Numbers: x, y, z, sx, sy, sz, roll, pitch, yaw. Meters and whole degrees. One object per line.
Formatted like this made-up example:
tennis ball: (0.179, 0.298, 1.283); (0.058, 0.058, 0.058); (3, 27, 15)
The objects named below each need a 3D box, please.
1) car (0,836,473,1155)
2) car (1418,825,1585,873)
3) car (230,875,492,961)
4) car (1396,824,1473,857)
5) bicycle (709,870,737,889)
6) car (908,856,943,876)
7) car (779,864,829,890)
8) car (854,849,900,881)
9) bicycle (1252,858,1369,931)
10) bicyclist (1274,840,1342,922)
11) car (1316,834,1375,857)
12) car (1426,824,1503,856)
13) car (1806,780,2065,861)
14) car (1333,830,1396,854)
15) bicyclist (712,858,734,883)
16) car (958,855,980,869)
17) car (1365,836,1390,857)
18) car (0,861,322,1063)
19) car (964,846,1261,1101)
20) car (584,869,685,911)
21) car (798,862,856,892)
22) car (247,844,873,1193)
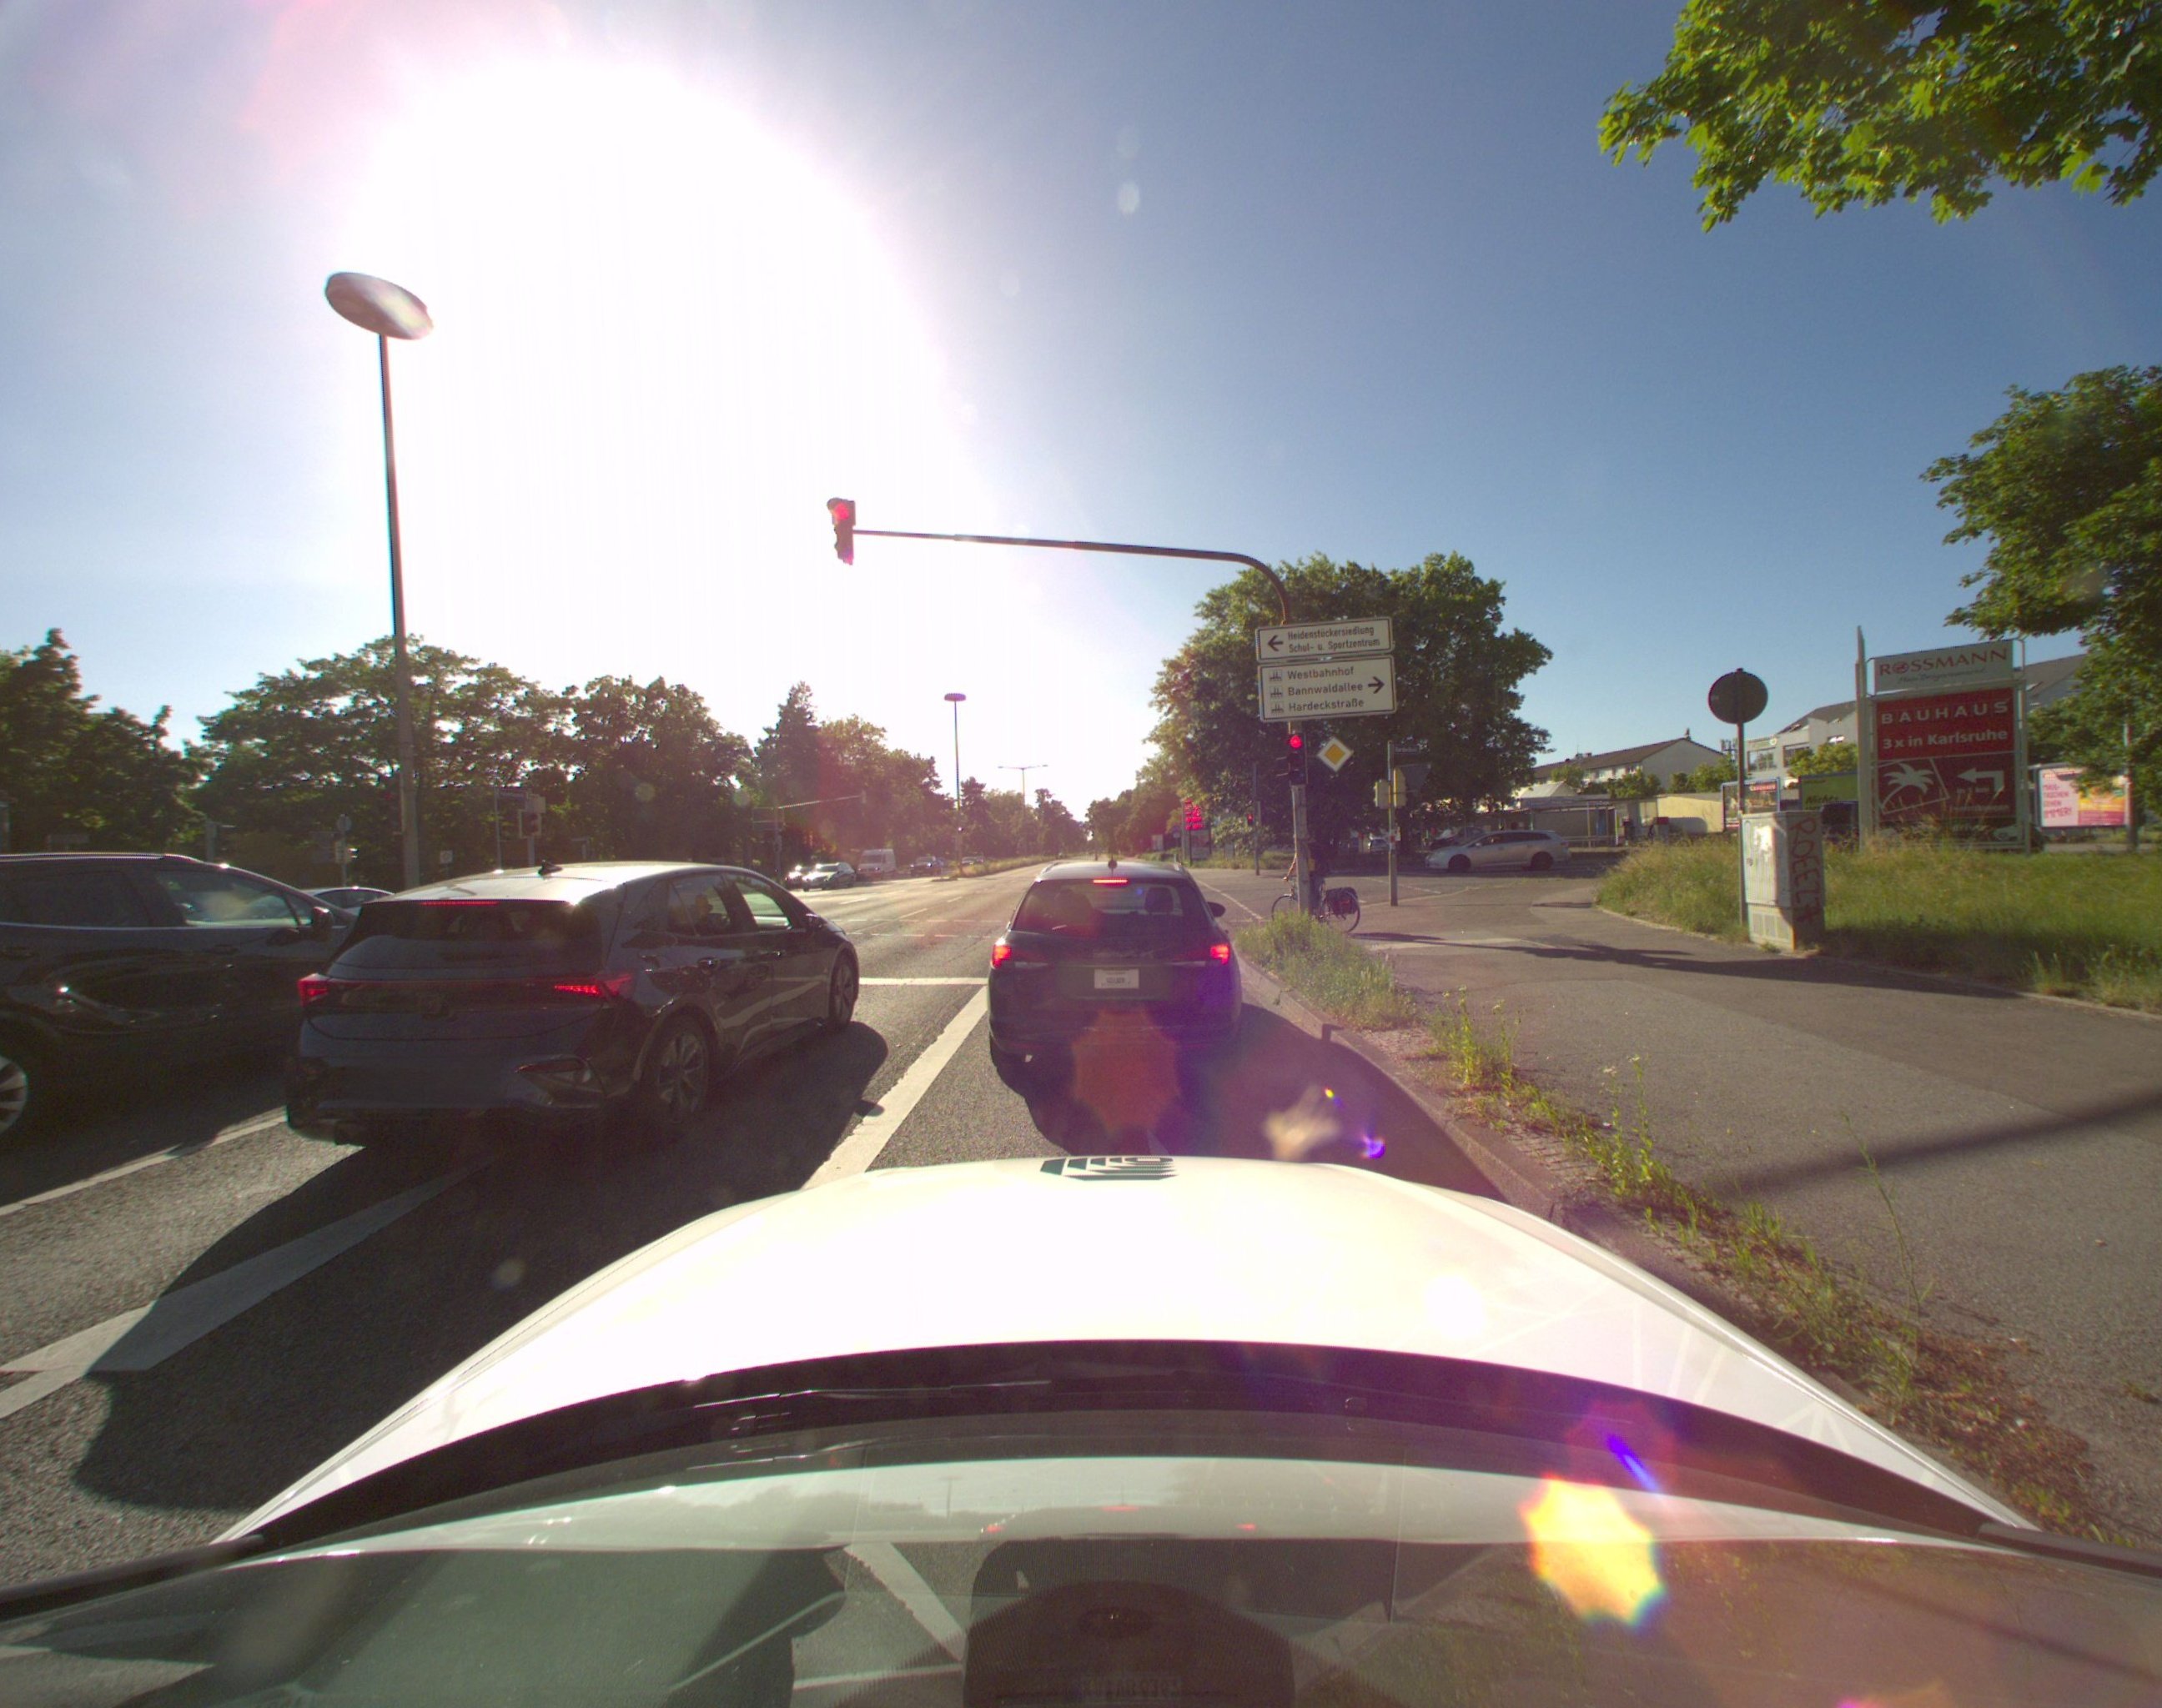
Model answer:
car: (-6.614, 0.787, 5.529); (1.798, 1.689, 4.002); (-3, 0, 2)
car: (14.970, -0.169, 29.303); (4.969, 1.486, 2.007); (-2, 0, 13)
car: (-16.216, 1.354, 18.754); (1.881, 1.524, 4.506); (-3, 0, 2)
car: (21.457, -0.818, 49.403); (4.003, 1.749, 1.985); (-3, 0, -22)
bicycle: (-24.899, 1.777, 56.724); (0.873, 1.212, 2.534); (-3, 0, -2)
car: (-13.619, 1.002, 71.663); (1.986, 1.601, 4.617); (-3, 0, 2)
car: (-18.012, 1.449, 53.116); (1.680, 1.509, 4.005); (-3, 0, 2)
car: (-16.931, 0.859, 67.888); (2.092, 2.492, 6.006); (-3, 0, 2)
bicycle: (3.738, 0.686, 13.382); (0.541, 1.097, 1.755); (-3, -2, -42)
bicyclist: (3.725, 0.445, 13.385); (0.541, 1.277, 0.819); (-3, -2, -42)
car: (19.335, -0.619, 59.534); (3.903, 1.517, 1.733); (-3, 0, -21)
car: (22.385, -0.818, 47.535); (4.002, 1.680, 1.733); (-3, 0, -21)
car: (24.452, -0.910, 23.516); (4.968, 1.992, 1.923); (-3, 0, 9)
car: (19.670, -0.826, 56.442); (3.903, 1.517, 1.733); (-3, 0, -21)
bicyclist: (-24.922, 1.160, 56.723); (0.873, 1.648, 1.199); (-3, 0, -1)
car: (-13.044, 0.922, 94.977); (1.769, 1.463, 4.166); (-3, 0, 2)
car: (25.926, -0.656, 71.231); (1.726, 1.680, 4.017); (-3, 0, 16)
car: (-10.217, 0.987, 7.931); (1.824, 1.702, 3.999); (-3, 0, 0)
car: (0.255, 0.725, 6.974); (1.750, 1.495, 4.208); (-1, 0, 2)
car: (-18.139, 1.416, 33.305); (1.635, 1.456, 4.223); (-3, 0, 2)
car: (-14.363, 1.269, 46.318); (1.680, 1.433, 4.617); (-3, 0, 2)
car: (-2.953, 0.772, 5.866); (1.678, 1.580, 4.208); (-1, 0, 2)
